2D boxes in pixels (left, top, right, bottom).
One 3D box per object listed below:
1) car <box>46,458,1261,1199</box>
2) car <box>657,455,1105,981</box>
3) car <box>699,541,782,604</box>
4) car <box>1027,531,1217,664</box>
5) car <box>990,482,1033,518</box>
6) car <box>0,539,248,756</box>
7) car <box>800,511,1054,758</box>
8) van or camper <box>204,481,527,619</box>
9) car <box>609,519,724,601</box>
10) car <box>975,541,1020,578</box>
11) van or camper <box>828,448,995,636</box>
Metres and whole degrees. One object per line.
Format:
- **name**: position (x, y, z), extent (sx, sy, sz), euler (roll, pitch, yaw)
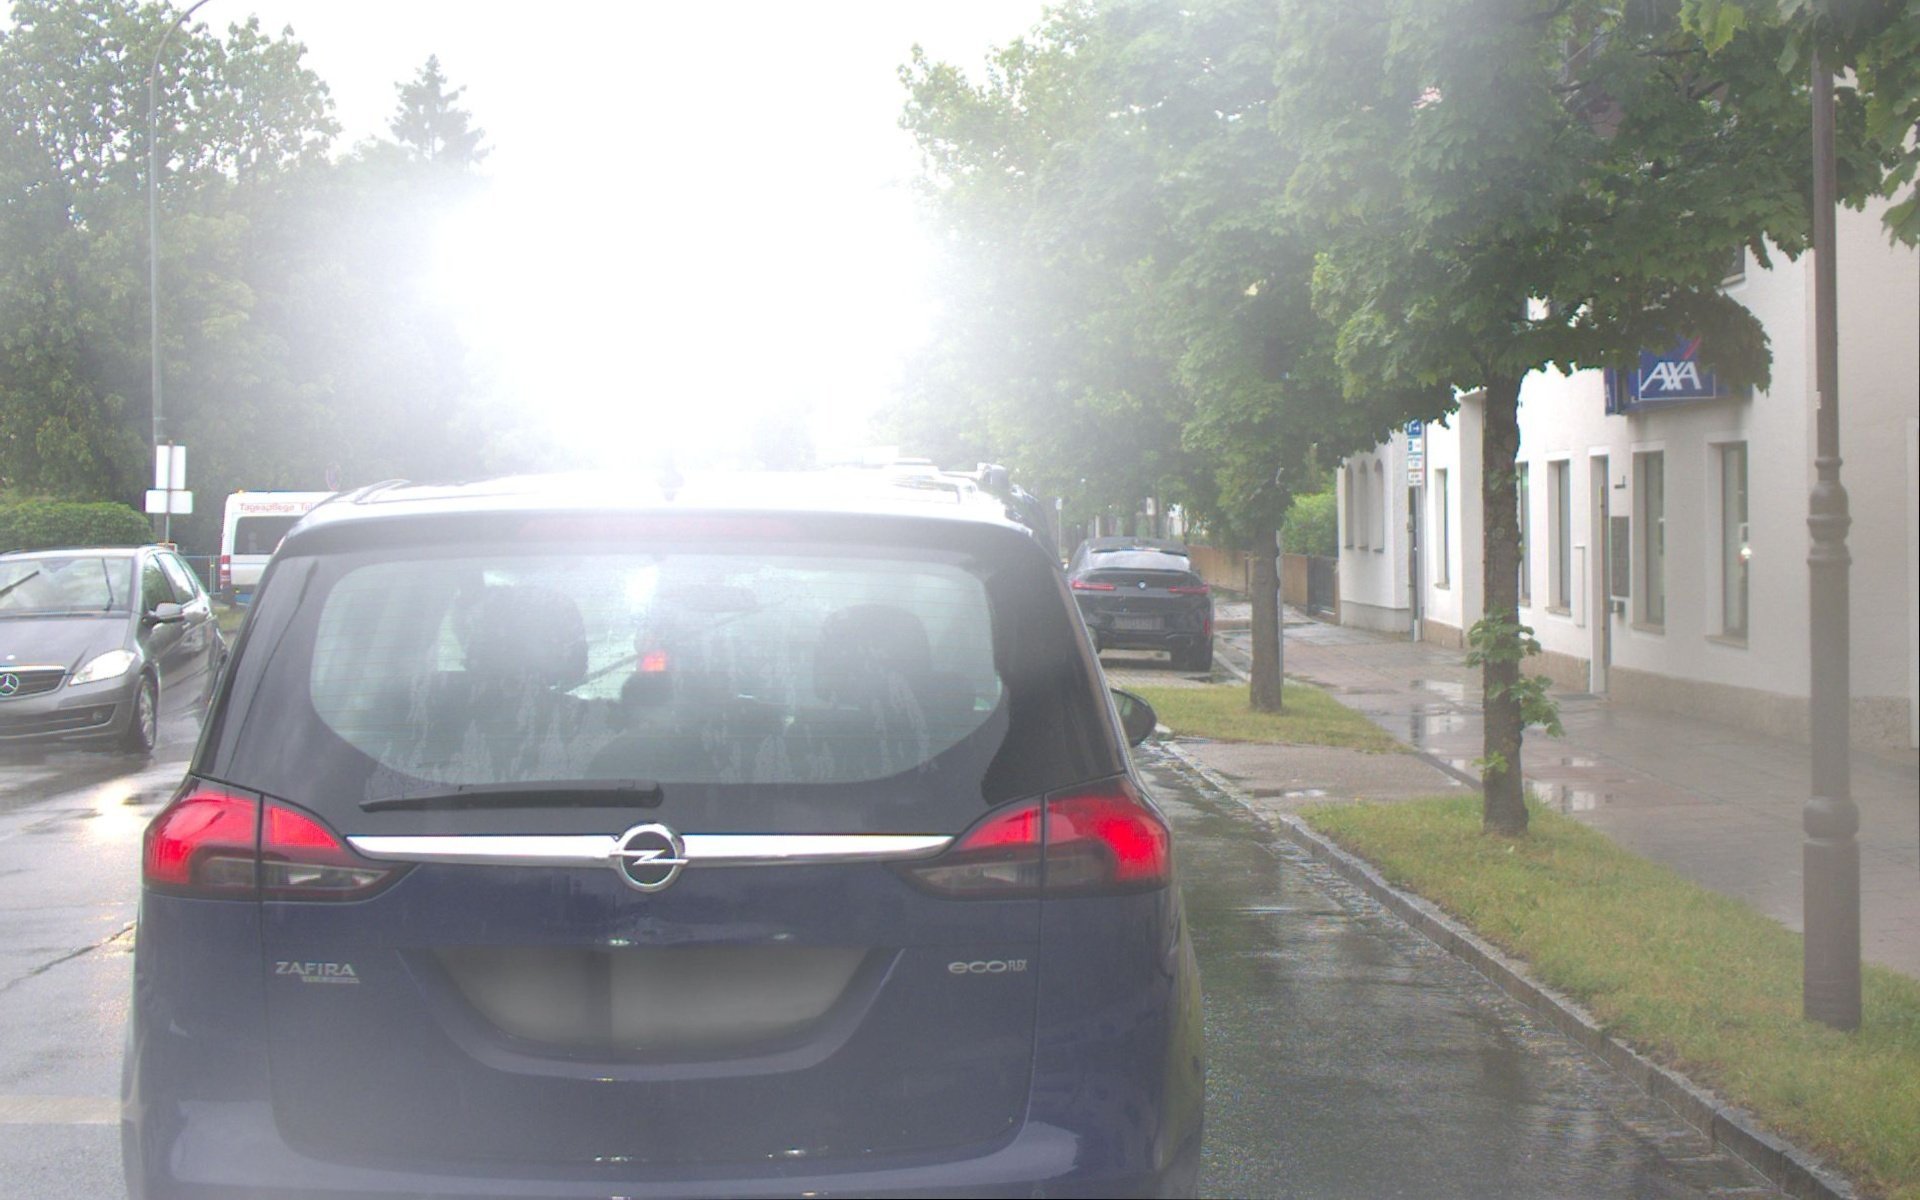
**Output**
- **car**: position (-0.476, 0.575, 6.895), extent (1.768, 1.599, 3.663), euler (1, 1, -1)
- **car**: position (-0.287, 0.376, 13.300), extent (1.500, 1.770, 3.112), euler (1, 1, -1)
- **car**: position (-5.634, -0.722, 88.712), extent (1.926, 1.561, 4.126), euler (-1, 1, -1)
- **car**: position (2.014, -0.051, 43.832), extent (2.117, 1.576, 3.936), euler (1, 1, -1)
- **car**: position (2.127, -4.115, 142.036), extent (1.630, 1.373, 3.623), euler (-1, 1, -1)
- **car**: position (-6.864, 0.317, 26.598), extent (1.915, 1.528, 3.899), euler (-1, 1, -1)
- **car**: position (-0.248, 0.204, 25.735), extent (1.756, 1.700, 3.619), euler (-1, 1, -1)
- **van or camper**: position (-11.884, -1.017, 69.123), extent (6.246, 2.698, 2.101), euler (-1, 1, -6)
- **car**: position (-5.875, -0.806, 69.242), extent (1.967, 1.557, 4.152), euler (-1, 1, -1)
- **car**: position (1.423, -1.568, 132.684), extent (1.630, 1.373, 3.623), euler (1, 0, -1)
- **van or camper**: position (-0.714, -0.881, 51.706), extent (2.360, 2.656, 5.372), euler (-1, 1, -1)
